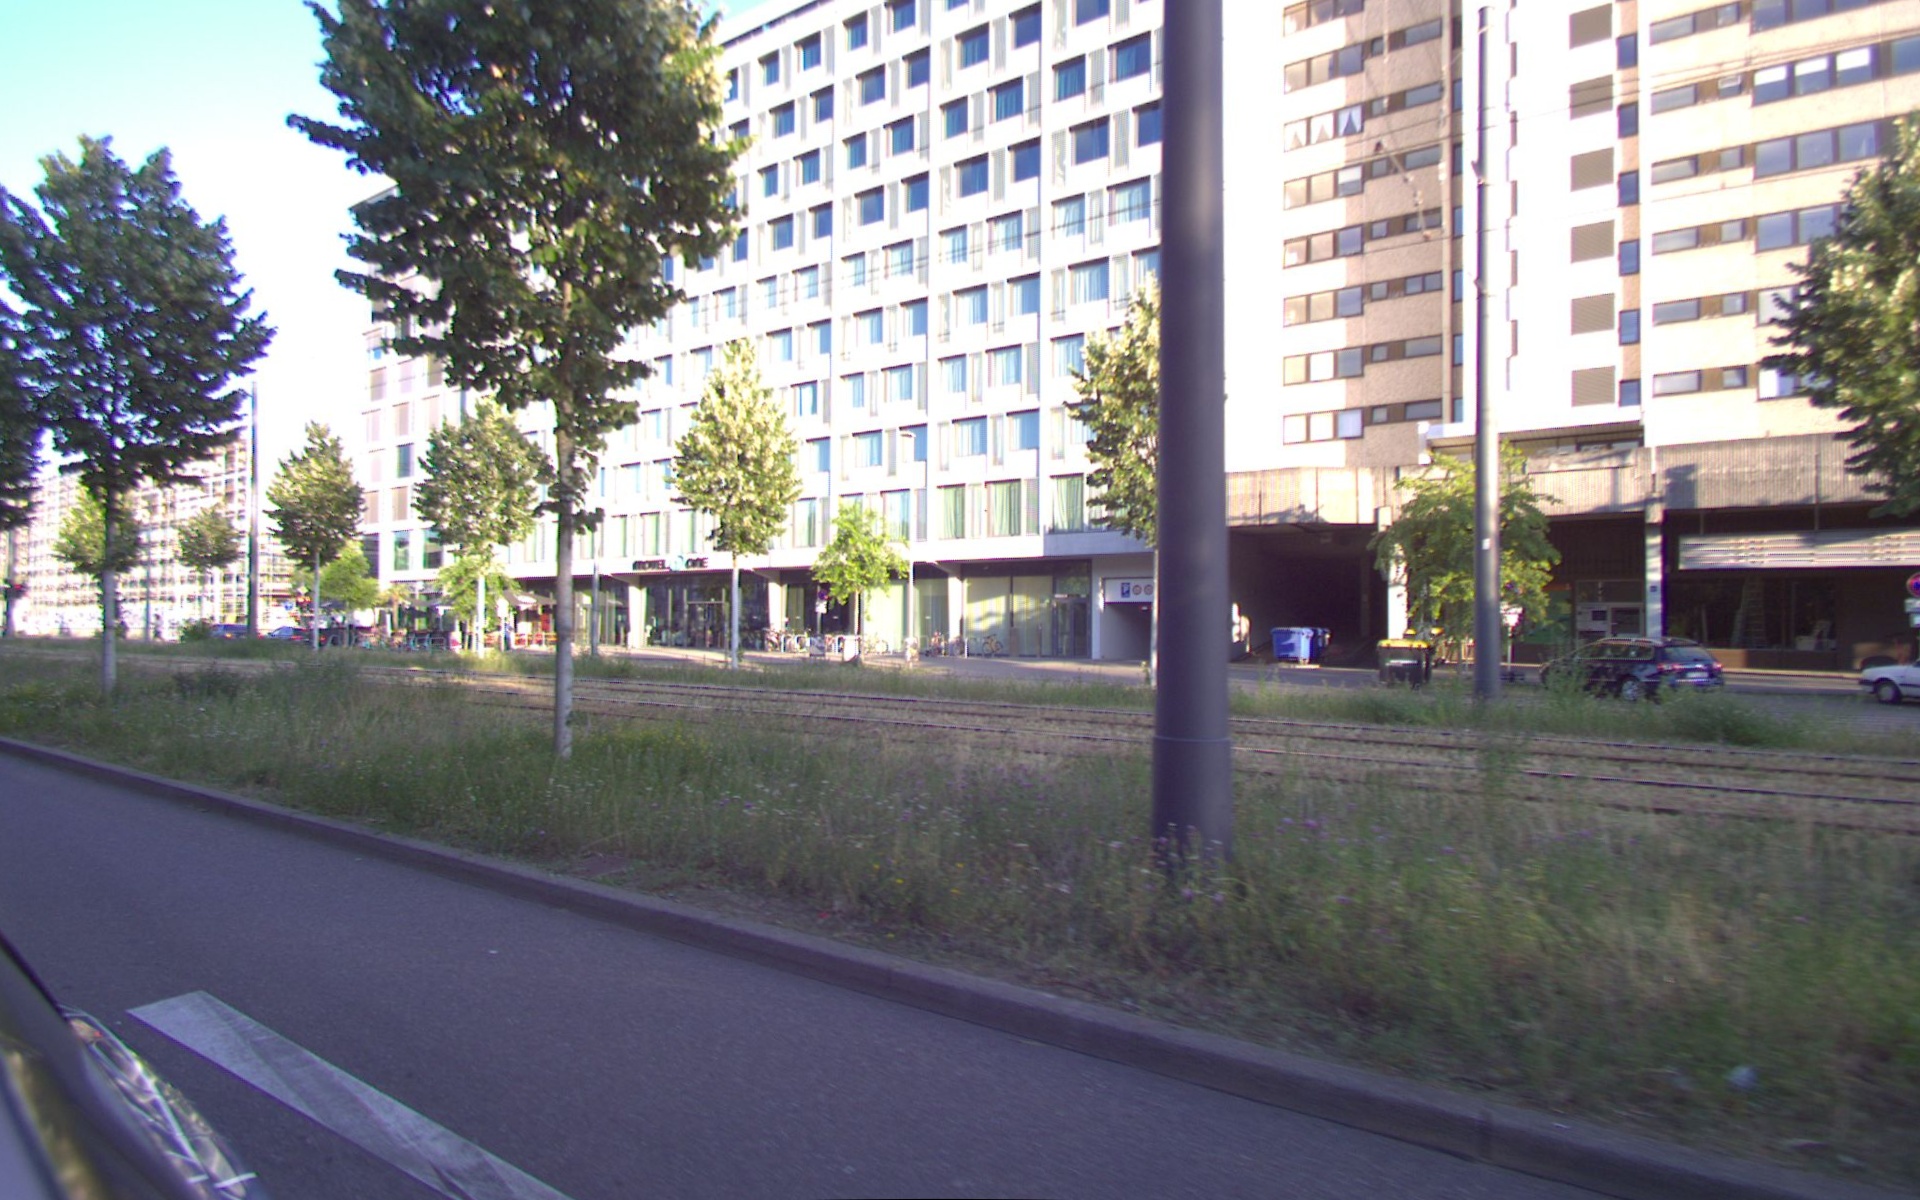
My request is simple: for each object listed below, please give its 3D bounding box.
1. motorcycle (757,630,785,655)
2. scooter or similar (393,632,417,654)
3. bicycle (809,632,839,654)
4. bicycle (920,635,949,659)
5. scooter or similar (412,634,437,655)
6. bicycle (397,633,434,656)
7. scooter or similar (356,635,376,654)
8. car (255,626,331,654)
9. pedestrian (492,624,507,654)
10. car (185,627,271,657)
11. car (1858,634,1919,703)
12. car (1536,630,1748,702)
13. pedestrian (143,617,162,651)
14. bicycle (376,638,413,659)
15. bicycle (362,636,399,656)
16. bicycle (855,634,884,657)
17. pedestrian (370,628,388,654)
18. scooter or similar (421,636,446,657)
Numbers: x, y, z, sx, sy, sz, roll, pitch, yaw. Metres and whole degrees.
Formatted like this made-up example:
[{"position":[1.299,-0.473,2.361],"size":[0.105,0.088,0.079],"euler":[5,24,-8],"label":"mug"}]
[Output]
[{"position":[-9.445,2.128,50.669],"size":[0.512,1.180,1.886],"euler":[-1,-1,19],"label":"motorcycle"},{"position":[-31.392,2.447,57.263],"size":[0.337,1.227,1.171],"euler":[-1,-2,35],"label":"scooter or similar"},{"position":[-6.479,2.054,48.325],"size":[0.419,1.028,1.730],"euler":[-1,-2,30],"label":"bicycle"},{"position":[-1.095,2.030,44.336],"size":[0.419,1.028,1.775],"euler":[-1,-2,30],"label":"bicycle"},{"position":[-29.680,2.457,56.111],"size":[0.337,1.172,1.171],"euler":[-1,-2,34],"label":"scooter or similar"},{"position":[-30.629,2.498,56.980],"size":[0.441,1.208,1.895],"euler":[-1,-1,31],"label":"bicycle"},{"position":[-35.454,2.645,60.433],"size":[0.337,1.093,0.964],"euler":[2,2,34],"label":"scooter or similar"},{"position":[-35.756,2.138,54.210],"size":[4.211,1.451,1.870],"euler":[-1,-2,33],"label":"car"},{"position":[-25.329,2.136,55.714],"size":[0.602,1.612,0.492],"euler":[-1,0,36],"label":"pedestrian"},{"position":[-37.536,2.149,51.866],"size":[4.788,1.452,1.998],"euler":[-1,-4,34],"label":"car"},{"position":[22.005,1.523,21.578],"size":[1.798,1.446,4.136],"euler":[-1,0,-5],"label":"car"},{"position":[16.621,1.547,24.972],"size":[1.978,1.602,4.291],"euler":[0,-1,-7],"label":"car"},{"position":[-46.767,1.967,58.586],"size":[0.707,1.938,0.673],"euler":[-1,0,36],"label":"pedestrian"},{"position":[-32.351,2.767,57.948],"size":[0.441,1.067,1.895],"euler":[-1,-1,31],"label":"bicycle"},{"position":[-33.514,2.634,58.589],"size":[0.441,1.067,1.895],"euler":[-1,-1,31],"label":"bicycle"},{"position":[-4.182,2.083,46.883],"size":[0.419,1.028,1.775],"euler":[-1,-2,30],"label":"bicycle"},{"position":[-36.732,2.591,63.958],"size":[0.700,1.616,0.680],"euler":[-1,0,6],"label":"pedestrian"},{"position":[-28.728,2.546,55.232],"size":[0.337,1.065,1.172],"euler":[-3,1,34],"label":"scooter or similar"}]
